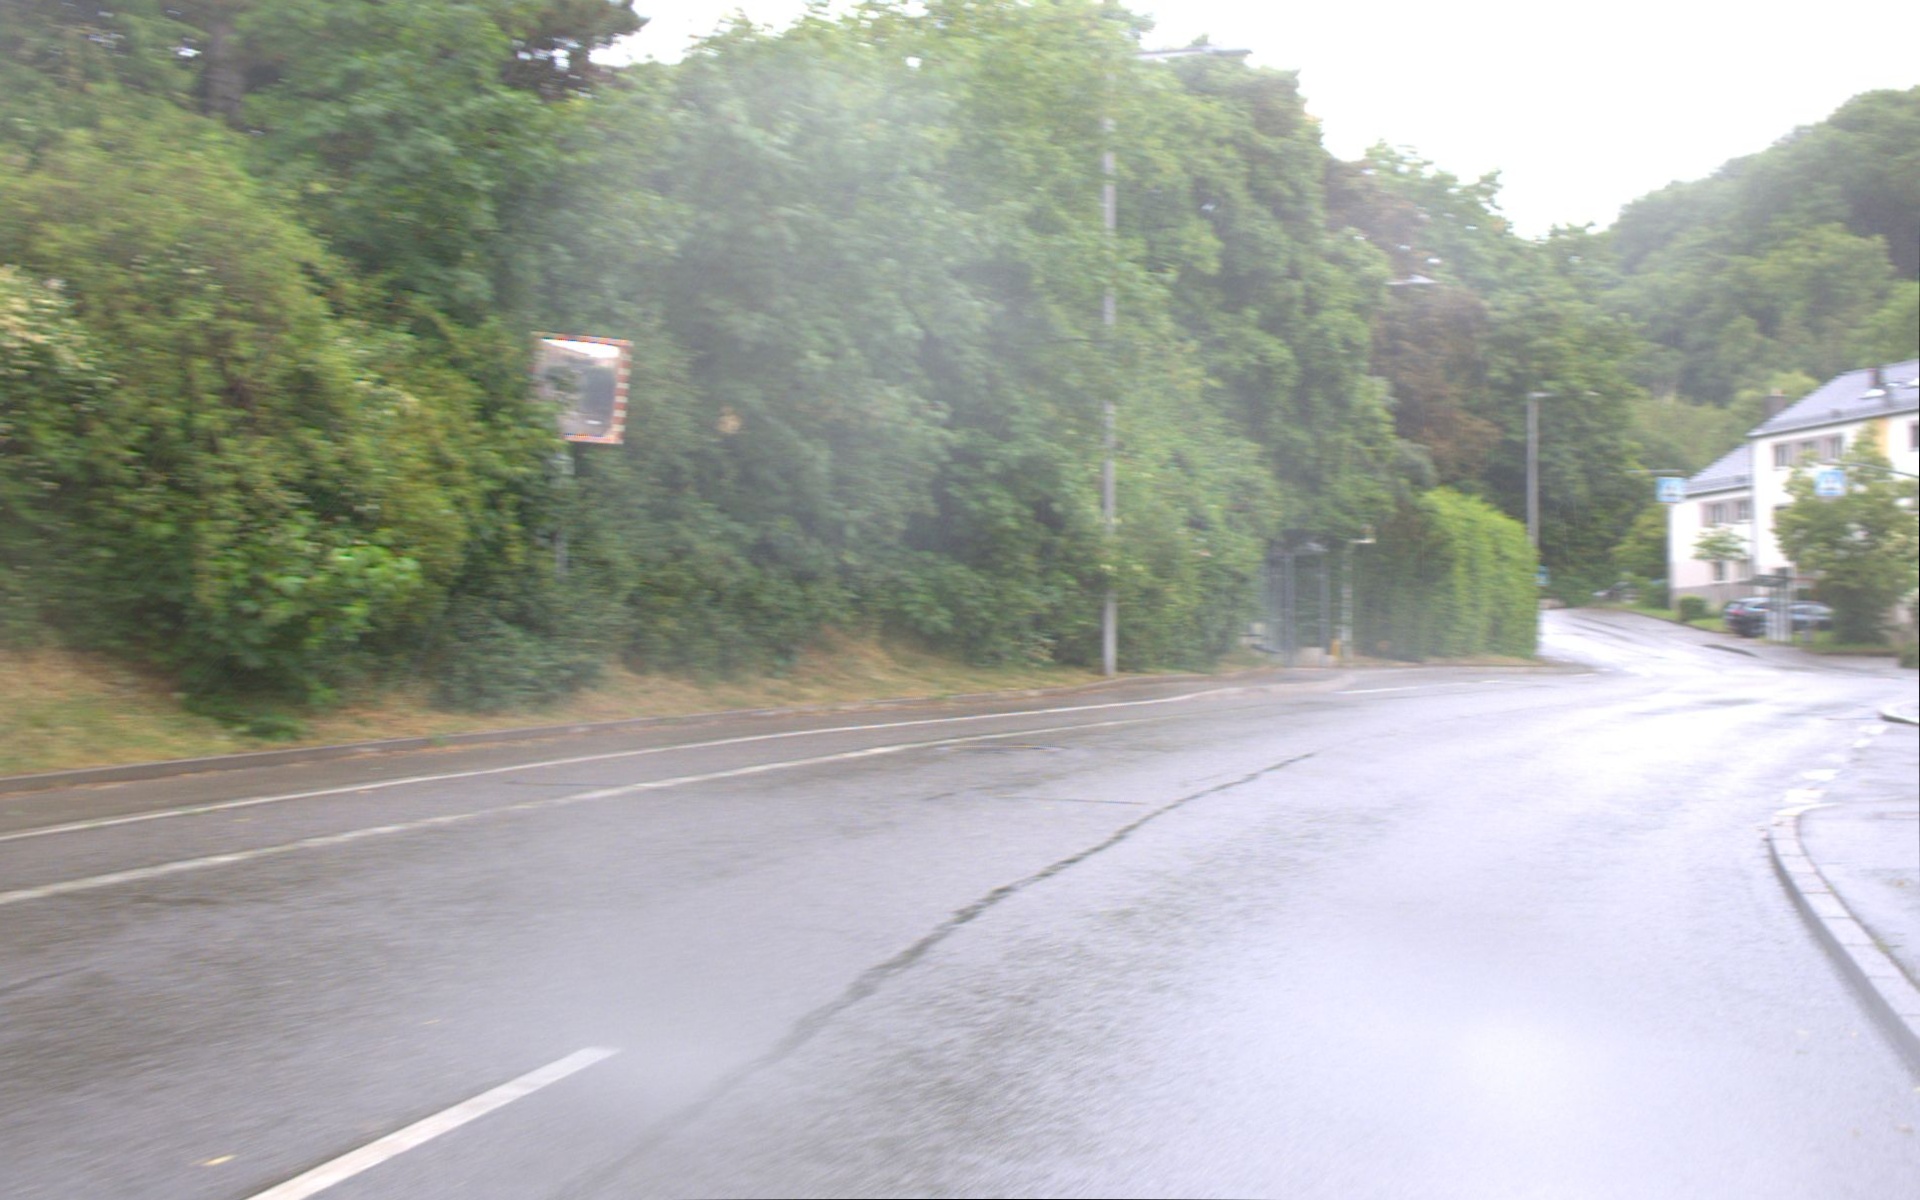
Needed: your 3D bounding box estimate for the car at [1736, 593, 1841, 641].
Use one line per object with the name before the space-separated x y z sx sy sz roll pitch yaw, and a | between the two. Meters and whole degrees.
car | 34.537 0.717 143.415 3.988 1.766 1.999 3 -2 6
